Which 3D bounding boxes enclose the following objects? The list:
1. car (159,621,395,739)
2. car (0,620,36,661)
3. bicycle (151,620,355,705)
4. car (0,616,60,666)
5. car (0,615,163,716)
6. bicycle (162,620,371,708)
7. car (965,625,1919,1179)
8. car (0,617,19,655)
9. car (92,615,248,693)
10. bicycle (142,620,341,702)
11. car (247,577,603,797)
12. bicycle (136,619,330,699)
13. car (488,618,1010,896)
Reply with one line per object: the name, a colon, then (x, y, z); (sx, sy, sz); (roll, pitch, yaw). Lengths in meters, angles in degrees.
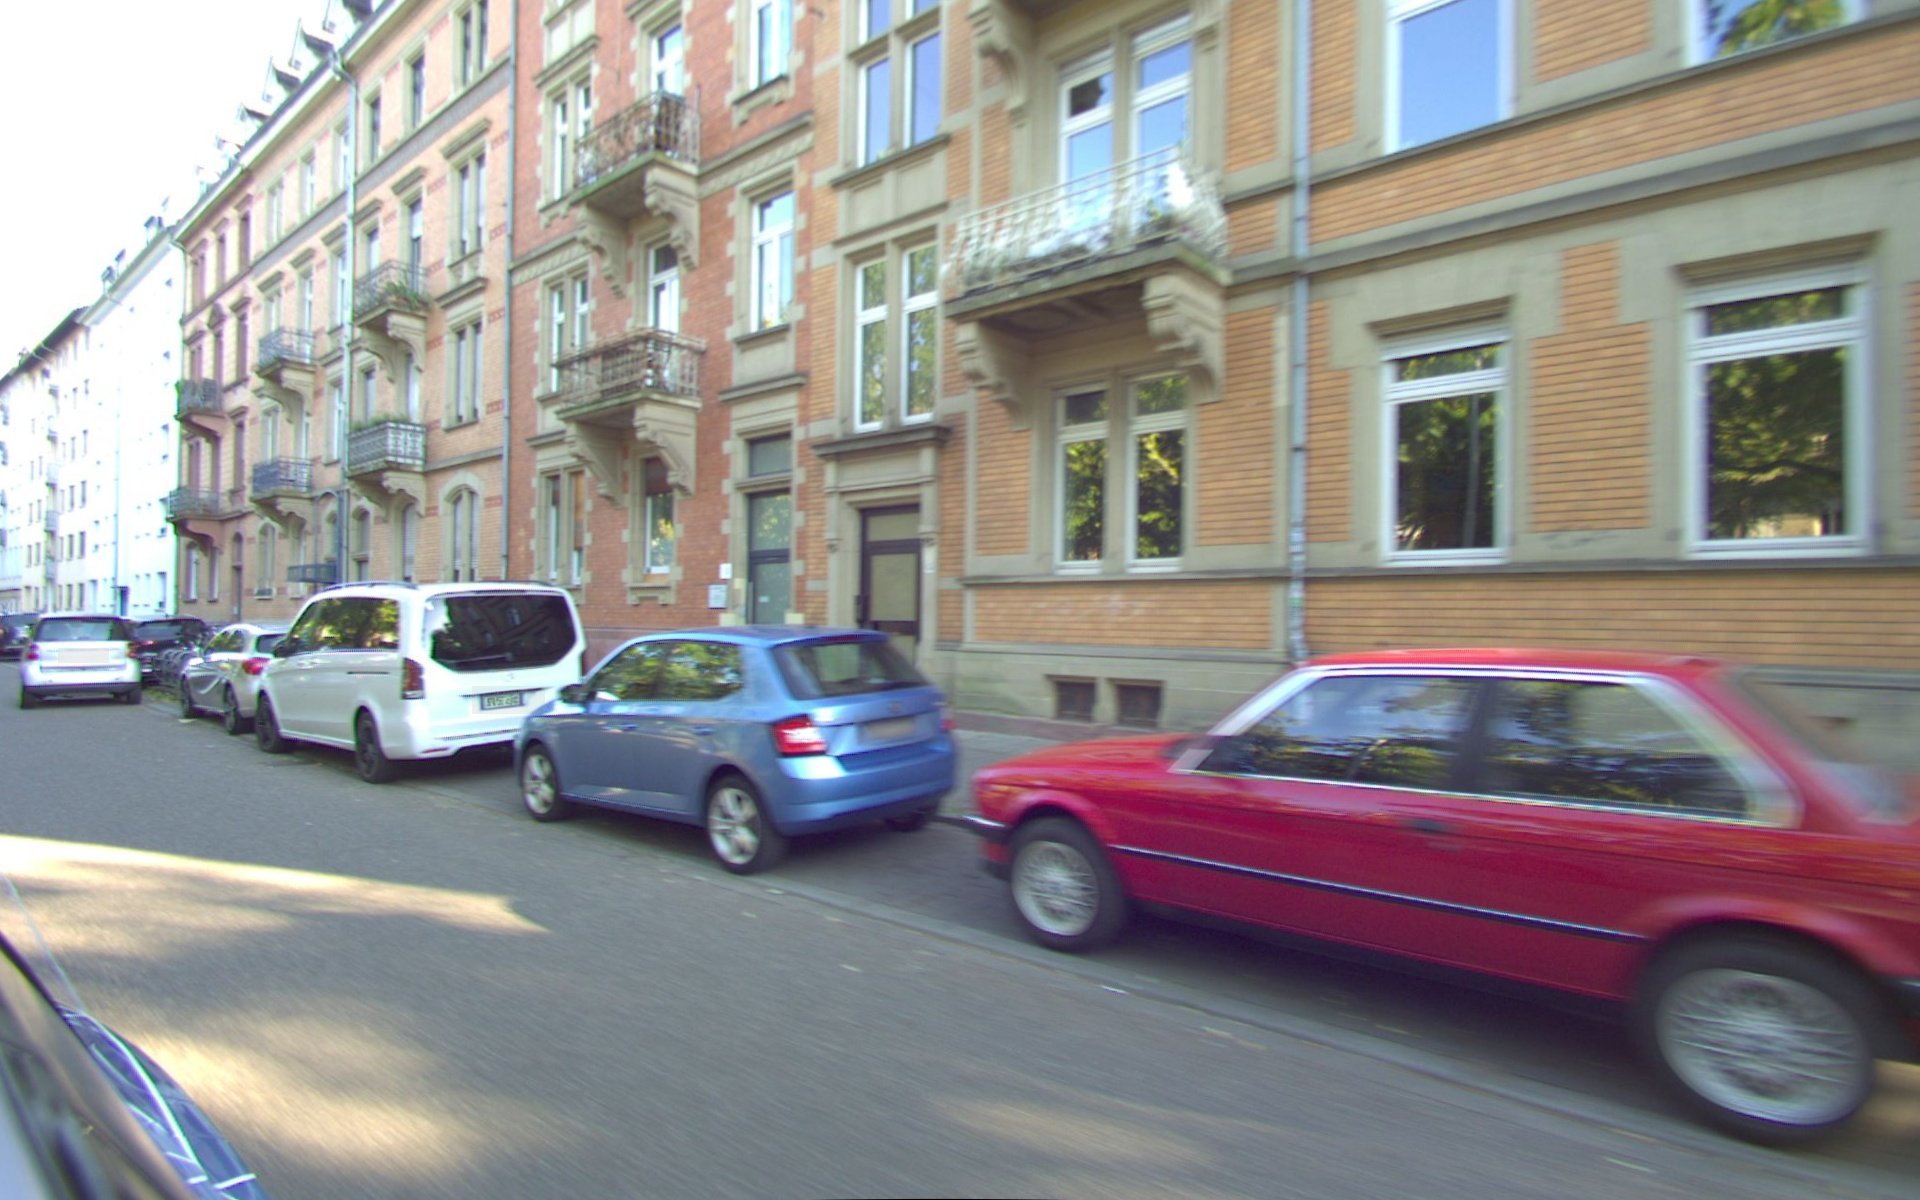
car: (-10.175, 1.052, 14.943); (4.391, 1.452, 1.856); (-1, 0, 41)
car: (-35.658, 1.474, 37.335); (4.391, 1.452, 1.856); (-1, 0, 41)
bicycle: (-13.253, 1.163, 19.099); (0.817, 1.496, 3.003); (-1, -3, 42)
car: (-31.743, 1.338, 33.909); (4.391, 1.581, 1.856); (-1, 0, 41)
car: (-15.836, 1.060, 18.006); (4.391, 1.548, 1.856); (-1, 0, 41)
bicycle: (-12.603, 1.154, 18.531); (0.817, 1.496, 3.003); (-1, -3, 42)
car: (2.190, 0.828, 4.129); (4.289, 1.394, 1.744); (-1, 0, 43)
car: (-39.223, 1.429, 40.501); (4.391, 1.452, 1.856); (-1, 0, 41)
car: (-16.888, 1.076, 21.563); (4.391, 1.452, 1.856); (-1, 0, 41)
bicycle: (-13.901, 1.171, 19.704); (0.817, 1.496, 3.003); (-1, -3, 42)
car: (-5.979, 0.776, 11.025); (4.723, 1.897, 1.887); (-1, 0, 41)
bicycle: (-14.509, 1.179, 20.314); (0.817, 1.496, 3.003); (-1, -3, 42)
car: (-1.701, 0.879, 7.361); (3.886, 1.449, 1.745); (-1, 0, 41)
